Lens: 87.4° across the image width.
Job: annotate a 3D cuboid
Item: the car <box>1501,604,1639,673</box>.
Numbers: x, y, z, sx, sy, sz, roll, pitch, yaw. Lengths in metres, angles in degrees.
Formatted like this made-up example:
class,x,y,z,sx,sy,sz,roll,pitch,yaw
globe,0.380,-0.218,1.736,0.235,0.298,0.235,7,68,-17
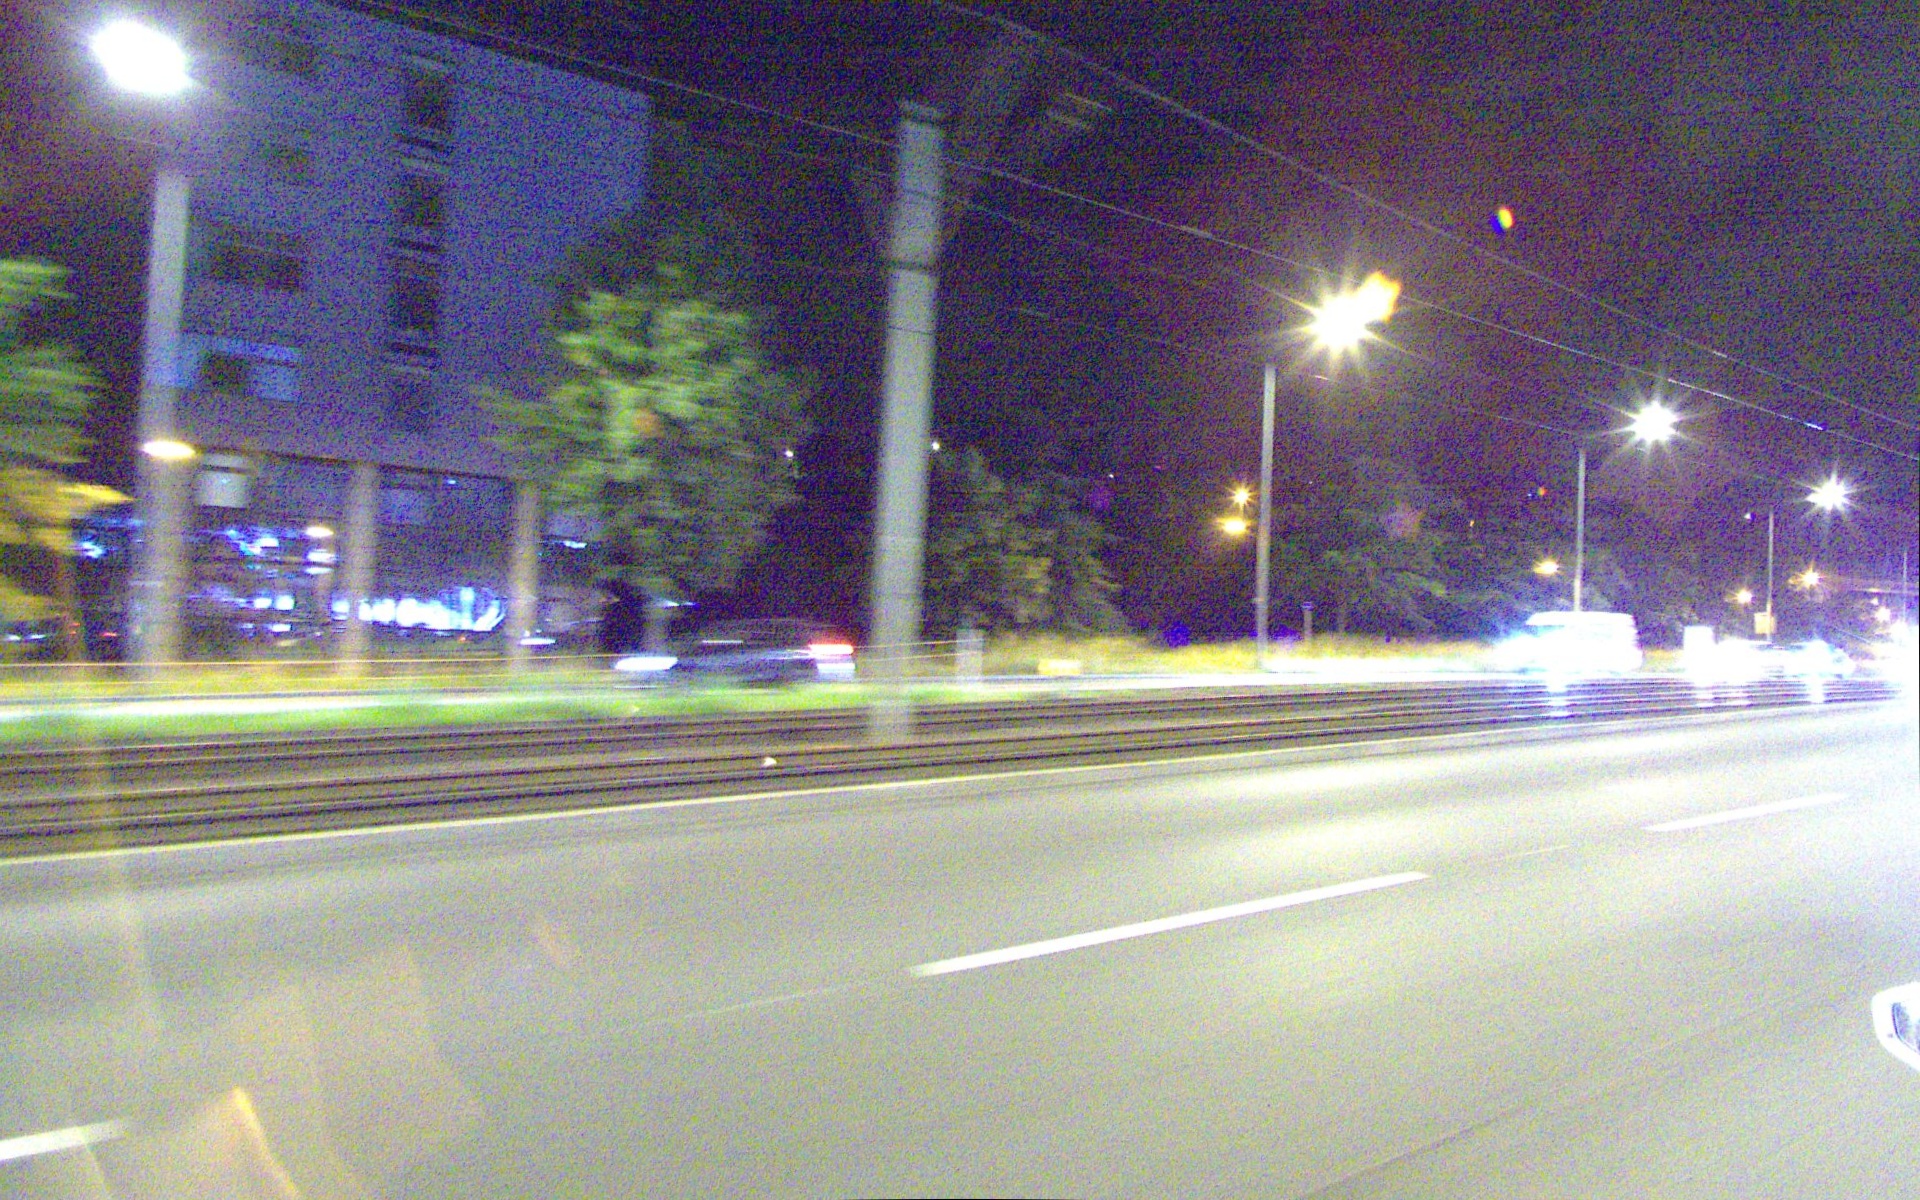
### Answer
class,x,y,z,sx,sy,sz,roll,pitch,yaw
car,25.709,1.717,42.245,6.887,2.705,2.134,3,-4,-33

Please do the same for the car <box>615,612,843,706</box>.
class,x,y,z,sx,sy,sz,roll,pitch,yaw
car,-4.668,1.170,20.460,4.177,1.736,1.771,2,-1,-30

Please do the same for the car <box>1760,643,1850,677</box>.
class,x,y,z,sx,sy,sz,roll,pitch,yaw
car,39.430,2.800,46.841,4.561,1.534,1.853,2,-3,-31

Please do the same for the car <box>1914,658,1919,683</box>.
class,x,y,z,sx,sy,sz,roll,pitch,yaw
car,58.430,4.212,59.389,4.903,1.448,1.856,2,-1,-33

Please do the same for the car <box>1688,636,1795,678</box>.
class,x,y,z,sx,sy,sz,roll,pitch,yaw
car,28.107,2.044,36.093,4.288,1.458,1.612,2,-3,-31
